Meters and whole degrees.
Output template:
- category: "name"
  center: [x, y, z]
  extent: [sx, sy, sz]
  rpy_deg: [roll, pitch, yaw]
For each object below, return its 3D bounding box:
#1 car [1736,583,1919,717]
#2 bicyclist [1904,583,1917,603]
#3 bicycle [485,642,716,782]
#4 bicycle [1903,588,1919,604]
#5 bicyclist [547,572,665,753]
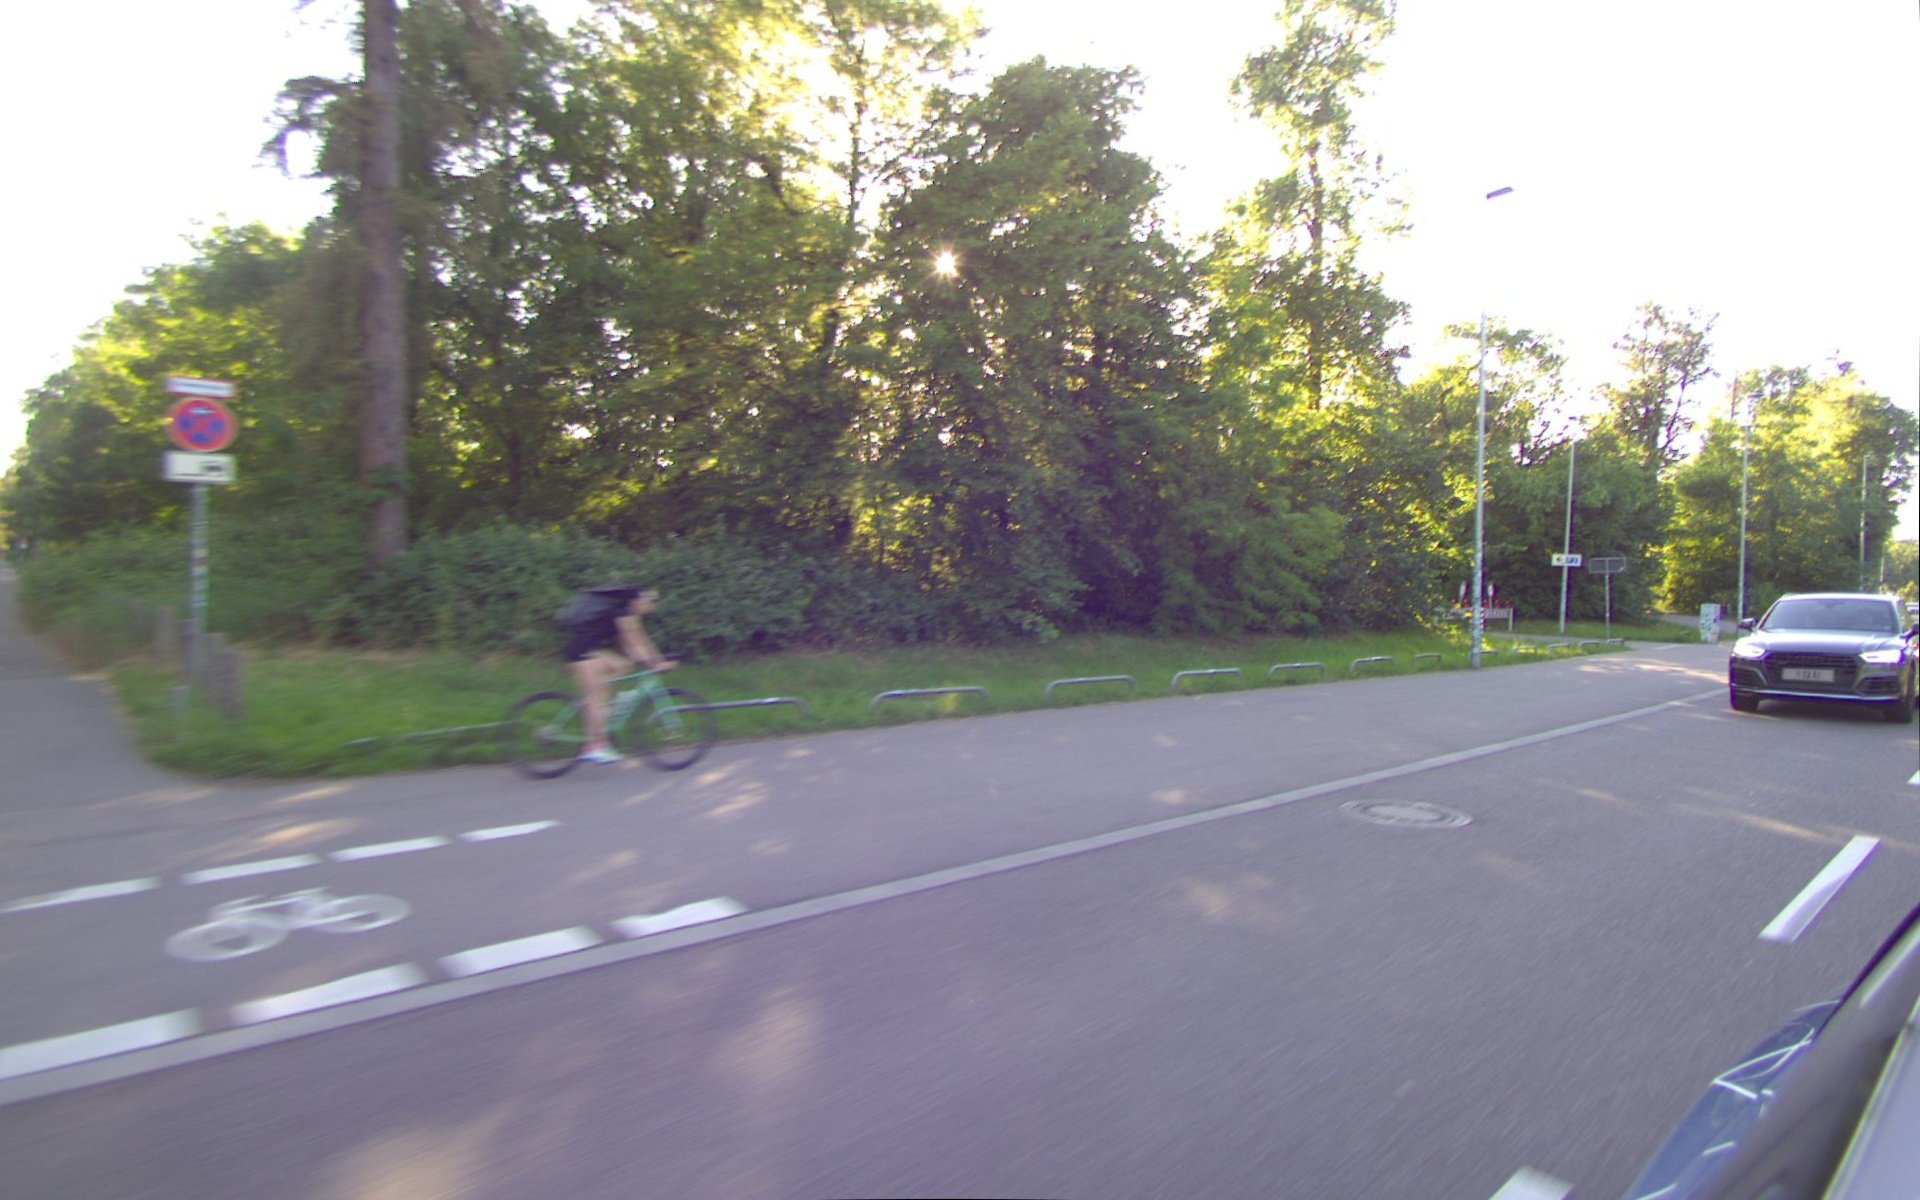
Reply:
- category: "car"
  center: [12.636, 0.586, 14.376]
  extent: [4.468, 1.625, 1.895]
  rpy_deg: [0, 0, -43]
- category: "bicyclist"
  center: [73.375, -0.533, 78.104]
  extent: [0.519, 1.487, 0.850]
  rpy_deg: [4, 3, 35]
- category: "bicycle"
  center: [-2.907, 0.864, 8.231]
  extent: [1.721, 0.979, 0.553]
  rpy_deg: [0, 0, -27]
- category: "bicycle"
  center: [73.315, -0.334, 78.038]
  extent: [0.552, 1.151, 1.840]
  rpy_deg: [4, 3, 35]
- category: "bicyclist"
  center: [-2.891, 0.478, 8.261]
  extent: [0.860, 1.403, 0.481]
  rpy_deg: [0, 0, -27]
